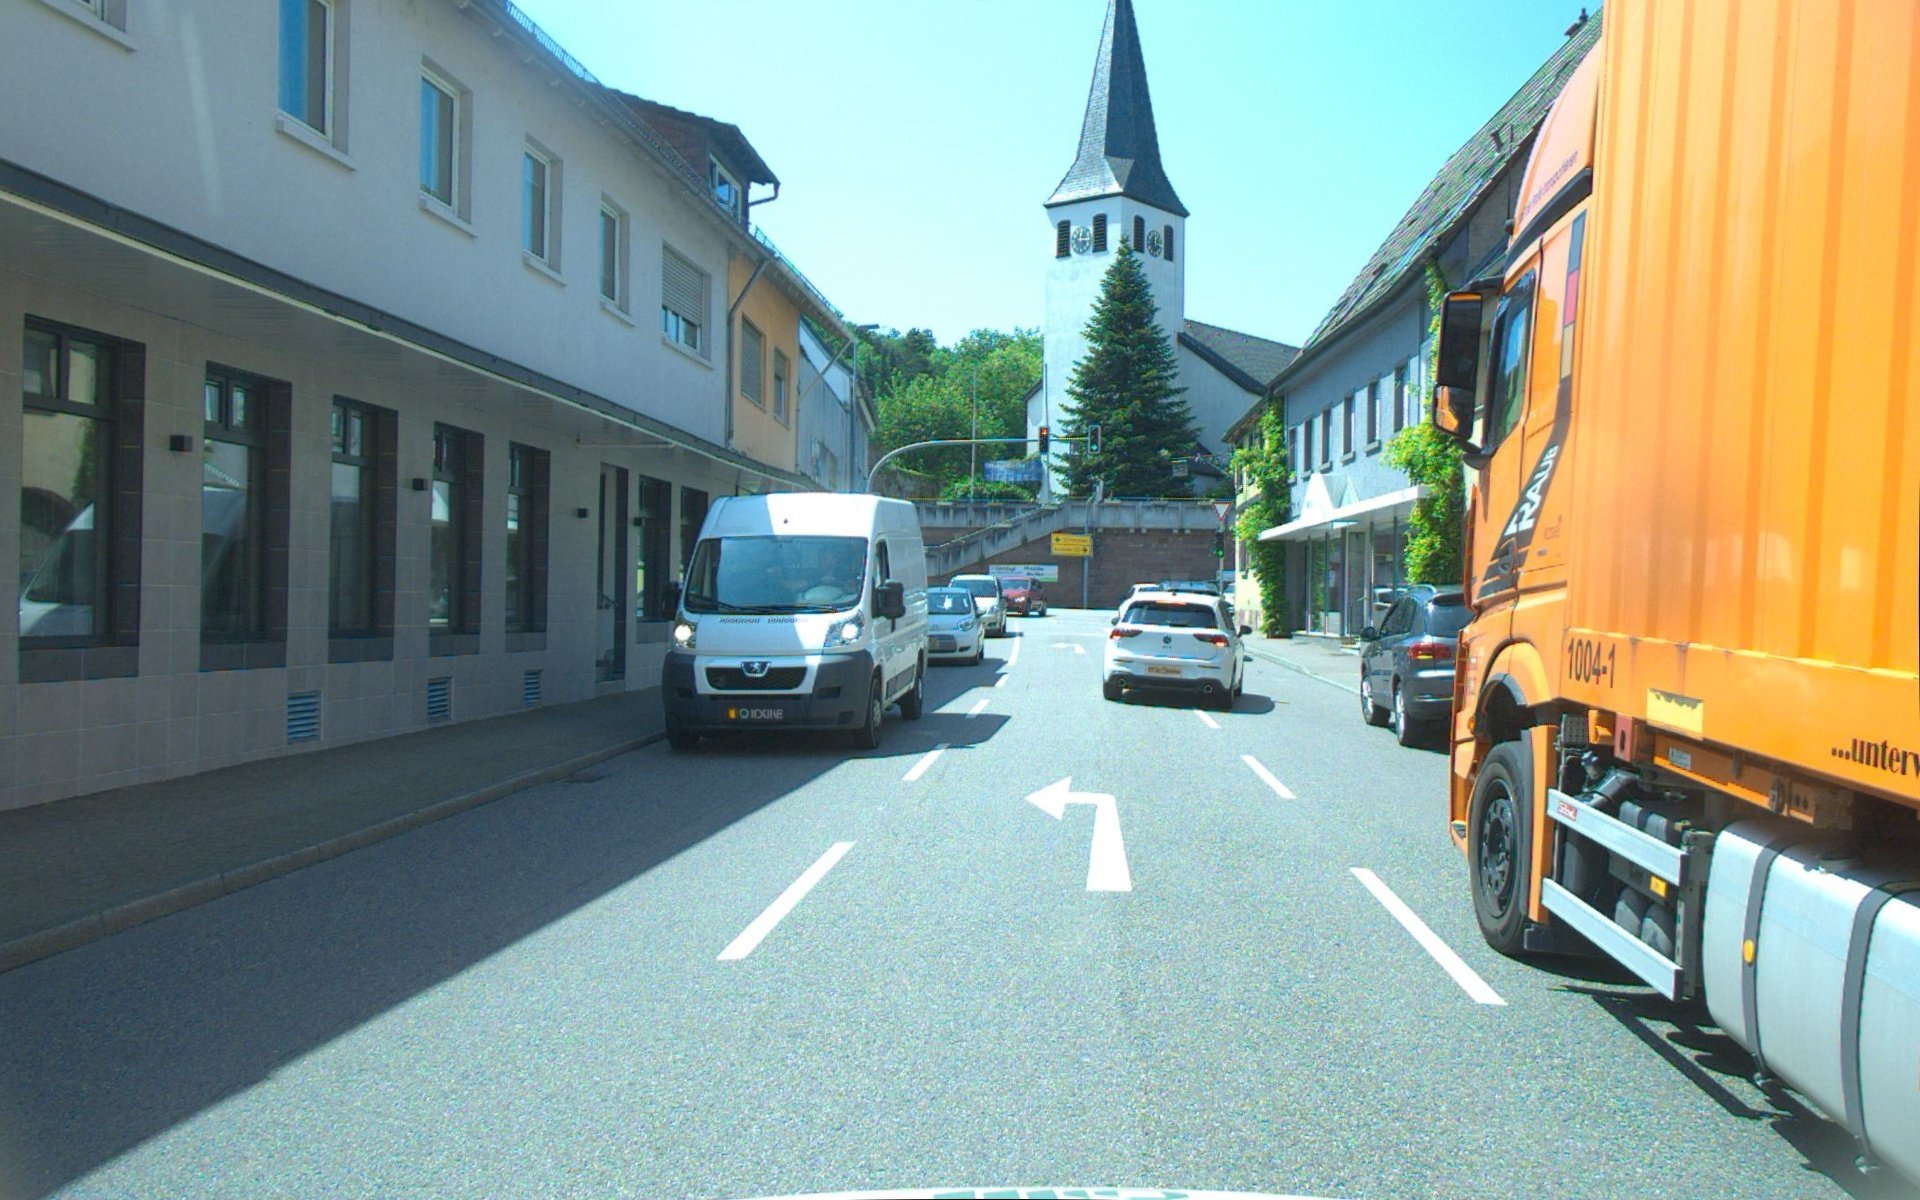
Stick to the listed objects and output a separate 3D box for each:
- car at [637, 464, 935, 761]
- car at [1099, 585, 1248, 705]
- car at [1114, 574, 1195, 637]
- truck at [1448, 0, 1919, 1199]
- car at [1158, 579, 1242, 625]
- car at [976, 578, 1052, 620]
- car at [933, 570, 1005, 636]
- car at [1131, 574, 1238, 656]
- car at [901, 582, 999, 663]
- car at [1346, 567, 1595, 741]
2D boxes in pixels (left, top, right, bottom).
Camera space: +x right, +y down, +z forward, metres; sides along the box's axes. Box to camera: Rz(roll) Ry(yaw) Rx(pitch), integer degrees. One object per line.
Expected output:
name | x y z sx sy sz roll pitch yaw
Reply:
car | -1.594 0.093 17.403 2.095 2.613 5.397 -1 0 5
car | 3.046 0.565 22.995 1.744 1.483 3.866 1 0 12
car | 5.650 0.121 48.463 1.909 1.609 4.328 1 2 1
truck | 3.410 -0.468 3.760 2.553 4.014 9.999 1 0 6
car | 9.360 0.041 64.238 1.912 1.609 4.321 2 3 28
car | 2.044 -0.066 61.590 1.681 1.433 4.287 -1 1 18
car | 0.289 0.048 45.070 1.644 1.645 3.824 -1 1 5
car | 5.050 0.283 37.719 1.909 1.609 4.328 1 2 1
car | -0.143 0.407 32.548 1.563 1.480 3.449 -1 0 5
car | 5.657 0.539 18.855 1.951 1.738 4.104 -1 0 6
